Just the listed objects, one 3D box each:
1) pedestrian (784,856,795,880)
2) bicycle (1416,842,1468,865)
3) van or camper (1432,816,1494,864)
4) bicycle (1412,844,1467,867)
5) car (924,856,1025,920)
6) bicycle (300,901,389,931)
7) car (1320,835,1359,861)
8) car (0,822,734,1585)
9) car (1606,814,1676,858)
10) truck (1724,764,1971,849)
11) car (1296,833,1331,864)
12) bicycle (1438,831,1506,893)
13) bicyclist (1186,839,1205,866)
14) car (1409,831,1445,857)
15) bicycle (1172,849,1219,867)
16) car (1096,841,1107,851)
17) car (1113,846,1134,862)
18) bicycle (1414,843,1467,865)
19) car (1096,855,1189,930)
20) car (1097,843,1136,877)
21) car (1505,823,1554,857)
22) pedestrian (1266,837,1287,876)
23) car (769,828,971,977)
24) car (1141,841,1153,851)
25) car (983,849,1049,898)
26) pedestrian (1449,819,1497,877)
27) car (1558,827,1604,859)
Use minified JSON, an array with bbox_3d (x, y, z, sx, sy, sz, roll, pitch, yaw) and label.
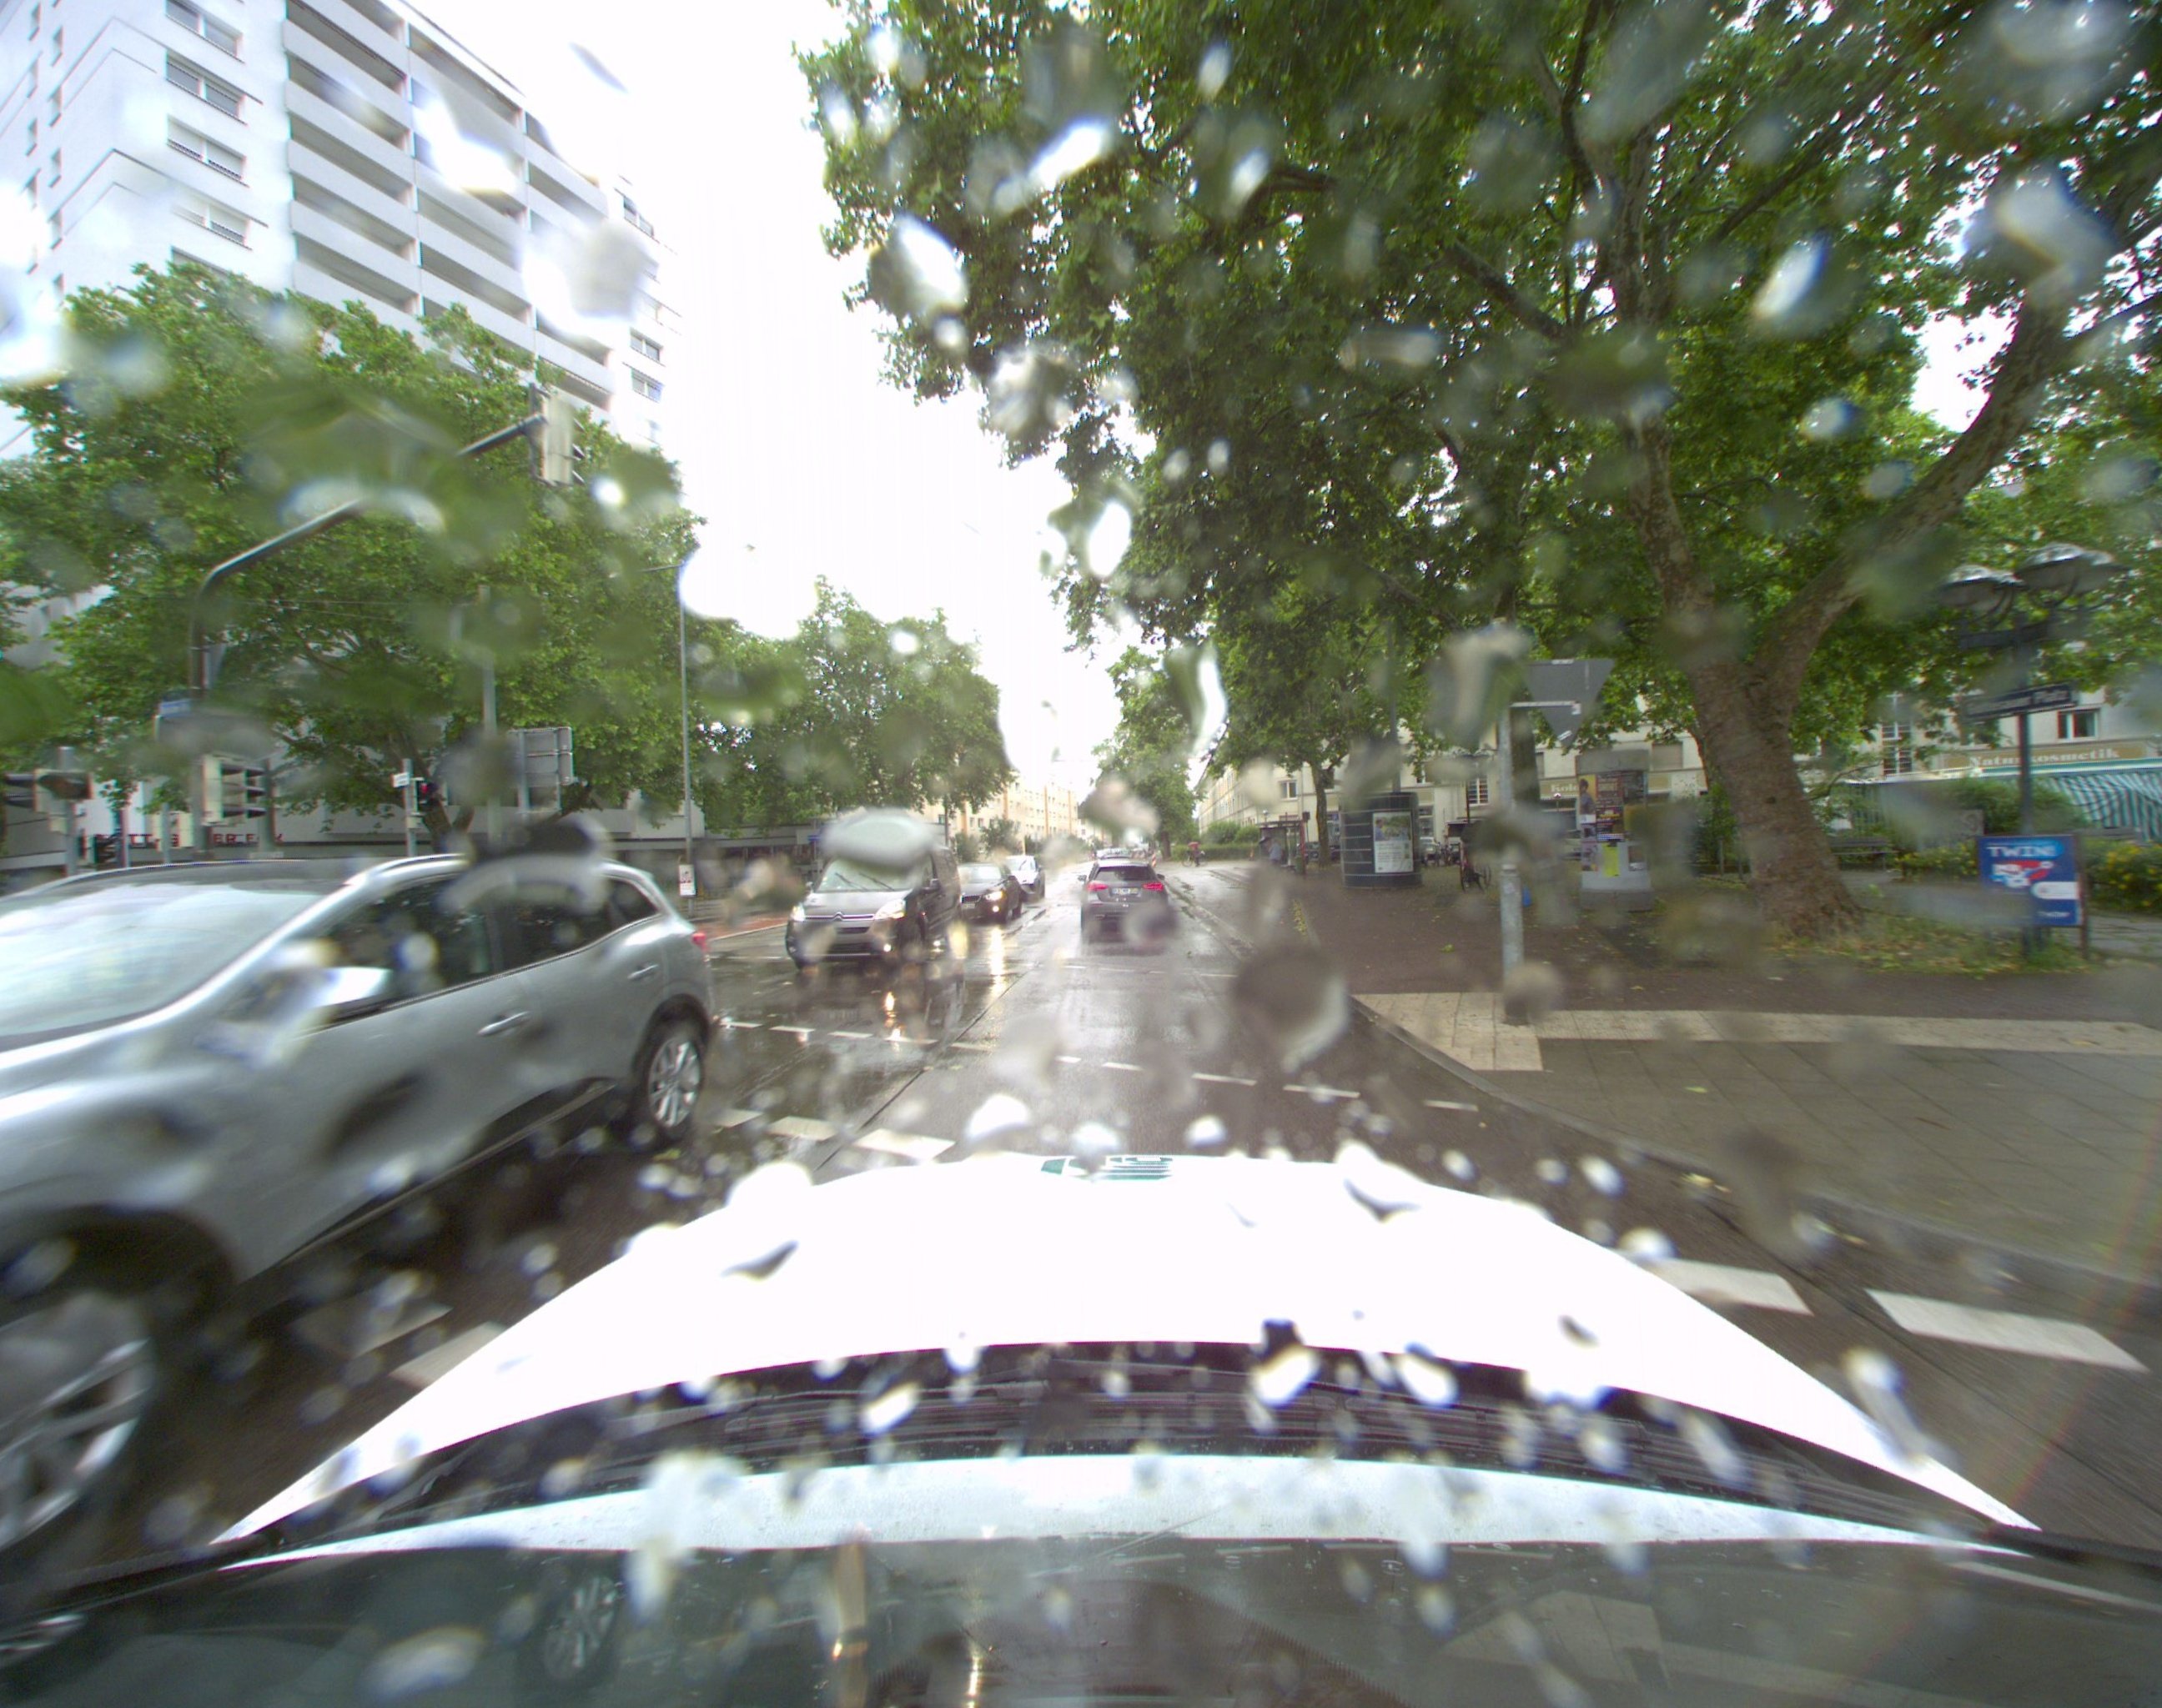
[{"bbox_3d":[-20.124,0.944,56.292,0.570,1.629,0.638,-2,0,-12],"label":"pedestrian"},{"bbox_3d":[17.295,-0.025,39.028,2.226,0.968,0.588,-3,0,25],"label":"bicycle"},{"bbox_3d":[19.822,-0.753,42.104,2.373,2.231,5.464,-3,0,30],"label":"van or camper"},{"bbox_3d":[16.599,0.081,37.750,2.260,0.983,0.549,-3,0,25],"label":"bicycle"},{"bbox_3d":[-2.531,0.767,20.431,1.735,1.389,4.365,-1,0,3],"label":"car"},{"bbox_3d":[-26.144,2.190,28.977,2.329,0.869,0.631,-1,0,-41],"label":"bicycle"},{"bbox_3d":[17.392,-0.443,54.656,1.975,1.628,4.657,0,1,25],"label":"car"},{"bbox_3d":[-3.111,0.760,2.979,1.735,1.604,4.003,-3,0,3],"label":"car"},{"bbox_3d":[26.455,-0.787,38.602,2.134,1.838,4.024,-3,-2,27],"label":"car"},{"bbox_3d":[28.631,-1.689,30.781,6.322,2.699,2.281,-3,0,23],"label":"truck"},{"bbox_3d":[12.851,-0.257,44.821,1.675,1.551,3.538,-3,-2,18],"label":"car"},{"bbox_3d":[9.912,0.172,20.579,0.742,1.377,2.724,-3,1,42],"label":"bicycle"},{"bbox_3d":[8.247,-0.082,58.755,0.940,1.868,1.136,-3,0,-16],"label":"bicyclist"},{"bbox_3d":[22.537,-0.661,52.919,1.975,1.628,4.657,0,1,25],"label":"car"},{"bbox_3d":[8.277,0.303,58.821,3.213,1.112,1.048,-3,-1,-17],"label":"bicycle"},{"bbox_3d":[4.085,-1.562,161.029,1.880,1.836,4.007,-3,0,6],"label":"car"},{"bbox_3d":[4.392,-0.025,85.298,1.986,1.574,4.001,-3,0,1],"label":"car"},{"bbox_3d":[16.950,0.005,38.392,2.231,0.968,0.538,-3,0,25],"label":"bicycle"},{"bbox_3d":[1.274,0.757,17.693,1.784,1.372,3.509,-1,1,2],"label":"car"},{"bbox_3d":[1.597,0.237,37.015,1.601,1.372,4.002,-3,1,2],"label":"car"},{"bbox_3d":[22.216,-0.676,40.448,1.664,1.575,3.756,-2,0,23],"label":"car"},{"bbox_3d":[8.425,0.100,35.115,0.712,1.669,0.666,-2,0,7],"label":"pedestrian"},{"bbox_3d":[-3.023,0.615,12.644,1.799,1.861,4.112,-3,0,3],"label":"car"},{"bbox_3d":[12.435,-1.485,153.420,2.036,1.836,4.800,-3,0,6],"label":"car"},{"bbox_3d":[-2.206,0.629,28.710,1.838,1.510,4.056,-3,0,1],"label":"car"},{"bbox_3d":[9.935,-0.167,20.624,0.737,1.398,1.053,-3,0,43],"label":"pedestrian"},{"bbox_3d":[24.752,-0.515,40.415,1.663,1.432,3.758,-3,-2,28],"label":"car"}]
